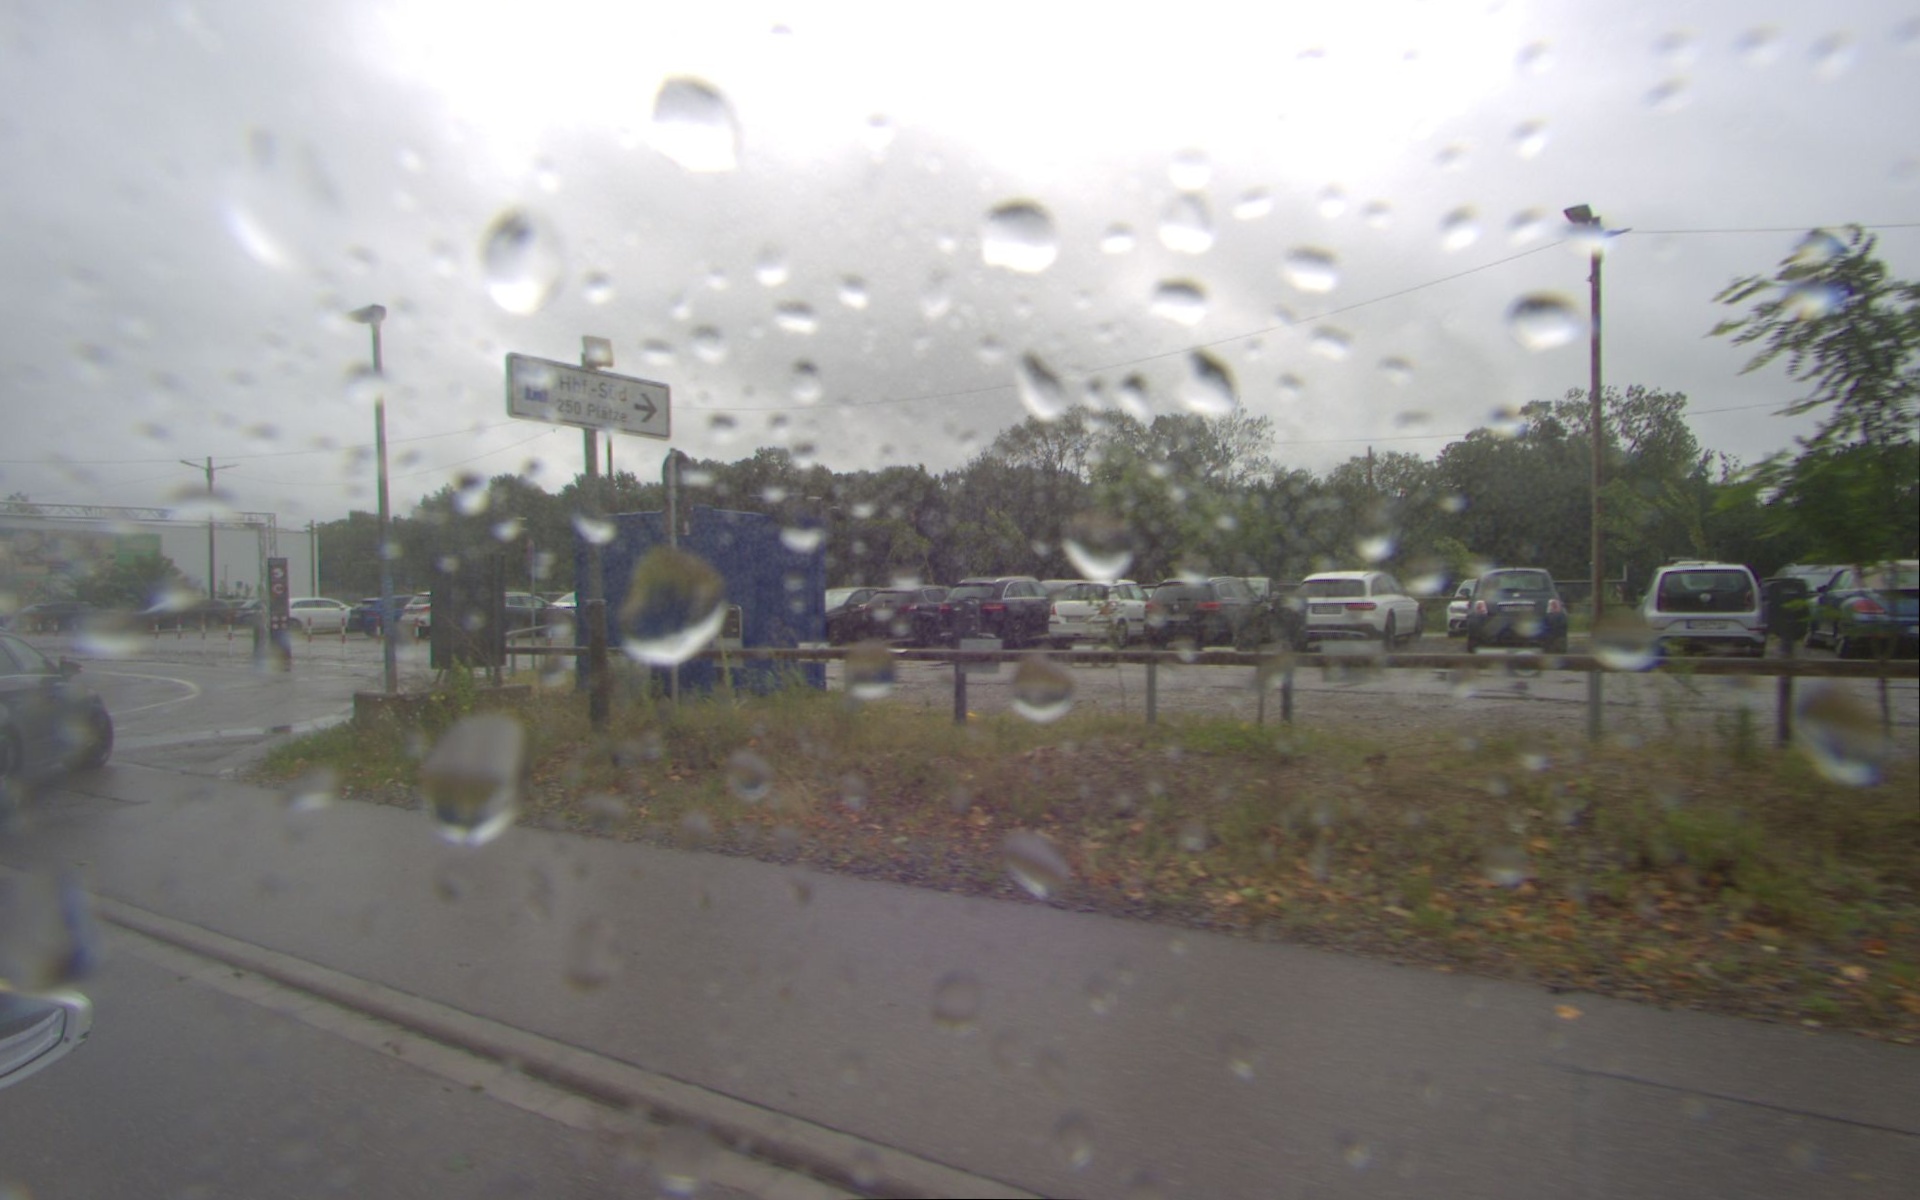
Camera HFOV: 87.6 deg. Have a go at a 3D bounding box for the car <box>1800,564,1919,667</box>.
[{"bbox_3d":[14.836,0.179,15.874,1.861,1.446,3.941,-2,1,33],"label":"car"}]

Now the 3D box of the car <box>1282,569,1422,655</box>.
[{"bbox_3d":[7.757,0.183,19.596,1.753,1.510,3.941,-2,1,33],"label":"car"}]

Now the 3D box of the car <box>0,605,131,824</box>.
[{"bbox_3d":[-8.546,0.810,8.318,1.874,1.476,4.203,0,1,-31],"label":"car"}]

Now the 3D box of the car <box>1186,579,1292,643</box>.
[{"bbox_3d":[7.397,0.246,26.289,1.652,1.513,3.978,0,1,32],"label":"car"}]

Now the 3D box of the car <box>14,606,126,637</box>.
[{"bbox_3d":[-45.943,1.104,51.761,1.972,1.504,3.979,-2,-1,32],"label":"car"}]

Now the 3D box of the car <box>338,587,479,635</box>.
[{"bbox_3d":[-20.030,0.365,36.525,1.902,1.504,4.032,-2,2,34],"label":"car"}]

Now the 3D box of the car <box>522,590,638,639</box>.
[{"bbox_3d":[-15.022,0.550,39.792,1.805,1.681,4.053,-2,1,29],"label":"car"}]

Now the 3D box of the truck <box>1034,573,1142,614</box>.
[{"bbox_3d":[6.609,-0.334,51.907,5.204,2.041,2.076,0,1,33],"label":"truck"}]

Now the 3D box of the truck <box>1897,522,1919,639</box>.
[{"bbox_3d":[20.047,-0.394,19.066,2.121,2.399,5.278,0,1,31],"label":"truck"}]

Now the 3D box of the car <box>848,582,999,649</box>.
[{"bbox_3d":[-0.846,0.348,25.329,1.844,1.510,3.941,-2,1,33],"label":"car"}]

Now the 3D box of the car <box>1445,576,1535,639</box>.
[{"bbox_3d":[12.470,0.132,23.456,1.652,1.338,3.979,0,1,31],"label":"car"}]

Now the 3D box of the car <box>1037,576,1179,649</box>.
[{"bbox_3d":[3.524,0.255,23.279,1.753,1.510,3.941,-2,1,33],"label":"car"}]

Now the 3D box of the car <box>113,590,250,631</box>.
[{"bbox_3d":[-35.885,0.511,46.309,1.987,1.738,4.619,-1,-1,26],"label":"car"}]

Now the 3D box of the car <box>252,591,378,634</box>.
[{"bbox_3d":[-26.245,0.479,40.865,1.902,1.504,3.817,-2,2,34],"label":"car"}]

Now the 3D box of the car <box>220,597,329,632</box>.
[{"bbox_3d":[-37.190,0.744,54.426,2.014,1.627,4.431,-2,1,31],"label":"car"}]

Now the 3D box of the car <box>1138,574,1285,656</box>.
[{"bbox_3d":[5.339,0.259,20.925,1.753,1.510,3.941,-2,1,33],"label":"car"}]

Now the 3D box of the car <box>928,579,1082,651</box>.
[{"bbox_3d":[1.152,0.305,23.639,1.844,1.510,3.941,-2,1,33],"label":"car"}]

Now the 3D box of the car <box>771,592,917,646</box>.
[{"bbox_3d":[-3.000,0.467,26.638,1.627,1.237,3.873,-2,1,36],"label":"car"}]

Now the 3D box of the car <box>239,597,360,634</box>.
[{"bbox_3d":[-33.575,0.764,51.008,2.014,1.627,4.692,-2,1,31],"label":"car"}]

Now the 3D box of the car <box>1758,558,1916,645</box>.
[{"bbox_3d":[17.847,0.014,20.575,1.744,1.595,3.979,0,1,31],"label":"car"}]

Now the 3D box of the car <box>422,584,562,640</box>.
[{"bbox_3d":[-15.392,0.361,33.115,1.762,1.605,3.762,-2,2,34],"label":"car"}]

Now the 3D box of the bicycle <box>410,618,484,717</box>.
[{"bbox_3d":[-6.311,0.787,12.285,0.502,1.098,1.690,-2,1,-37],"label":"bicycle"}]

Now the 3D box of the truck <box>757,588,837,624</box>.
[{"bbox_3d":[-10.387,0.358,63.610,5.017,2.167,2.065,0,1,37],"label":"truck"}]

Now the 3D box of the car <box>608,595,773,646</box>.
[{"bbox_3d":[-7.708,0.569,29.102,1.949,1.237,4.579,-2,1,30],"label":"car"}]

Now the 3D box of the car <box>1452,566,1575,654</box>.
[{"bbox_3d":[10.646,0.140,19.137,1.753,1.510,3.941,-2,1,33],"label":"car"}]

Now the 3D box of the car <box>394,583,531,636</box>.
[{"bbox_3d":[-17.324,0.303,35.016,1.762,1.605,3.890,-2,2,34],"label":"car"}]

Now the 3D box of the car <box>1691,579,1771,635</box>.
[{"bbox_3d":[22.886,0.184,29.840,1.609,1.561,3.883,0,1,34],"label":"car"}]

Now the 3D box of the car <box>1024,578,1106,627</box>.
[{"bbox_3d":[4.330,0.086,40.755,1.969,1.855,3.982,0,1,28],"label":"car"}]

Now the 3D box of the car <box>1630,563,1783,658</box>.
[{"bbox_3d":[12.791,0.132,17.376,1.861,1.446,3.941,-2,1,33],"label":"car"}]

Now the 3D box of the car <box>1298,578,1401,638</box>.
[{"bbox_3d":[9.746,0.159,24.889,1.652,1.338,3.977,0,1,32],"label":"car"}]

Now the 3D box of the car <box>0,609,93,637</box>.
[{"bbox_3d":[-48.754,1.225,52.992,1.972,1.427,3.979,-2,-1,32],"label":"car"}]
